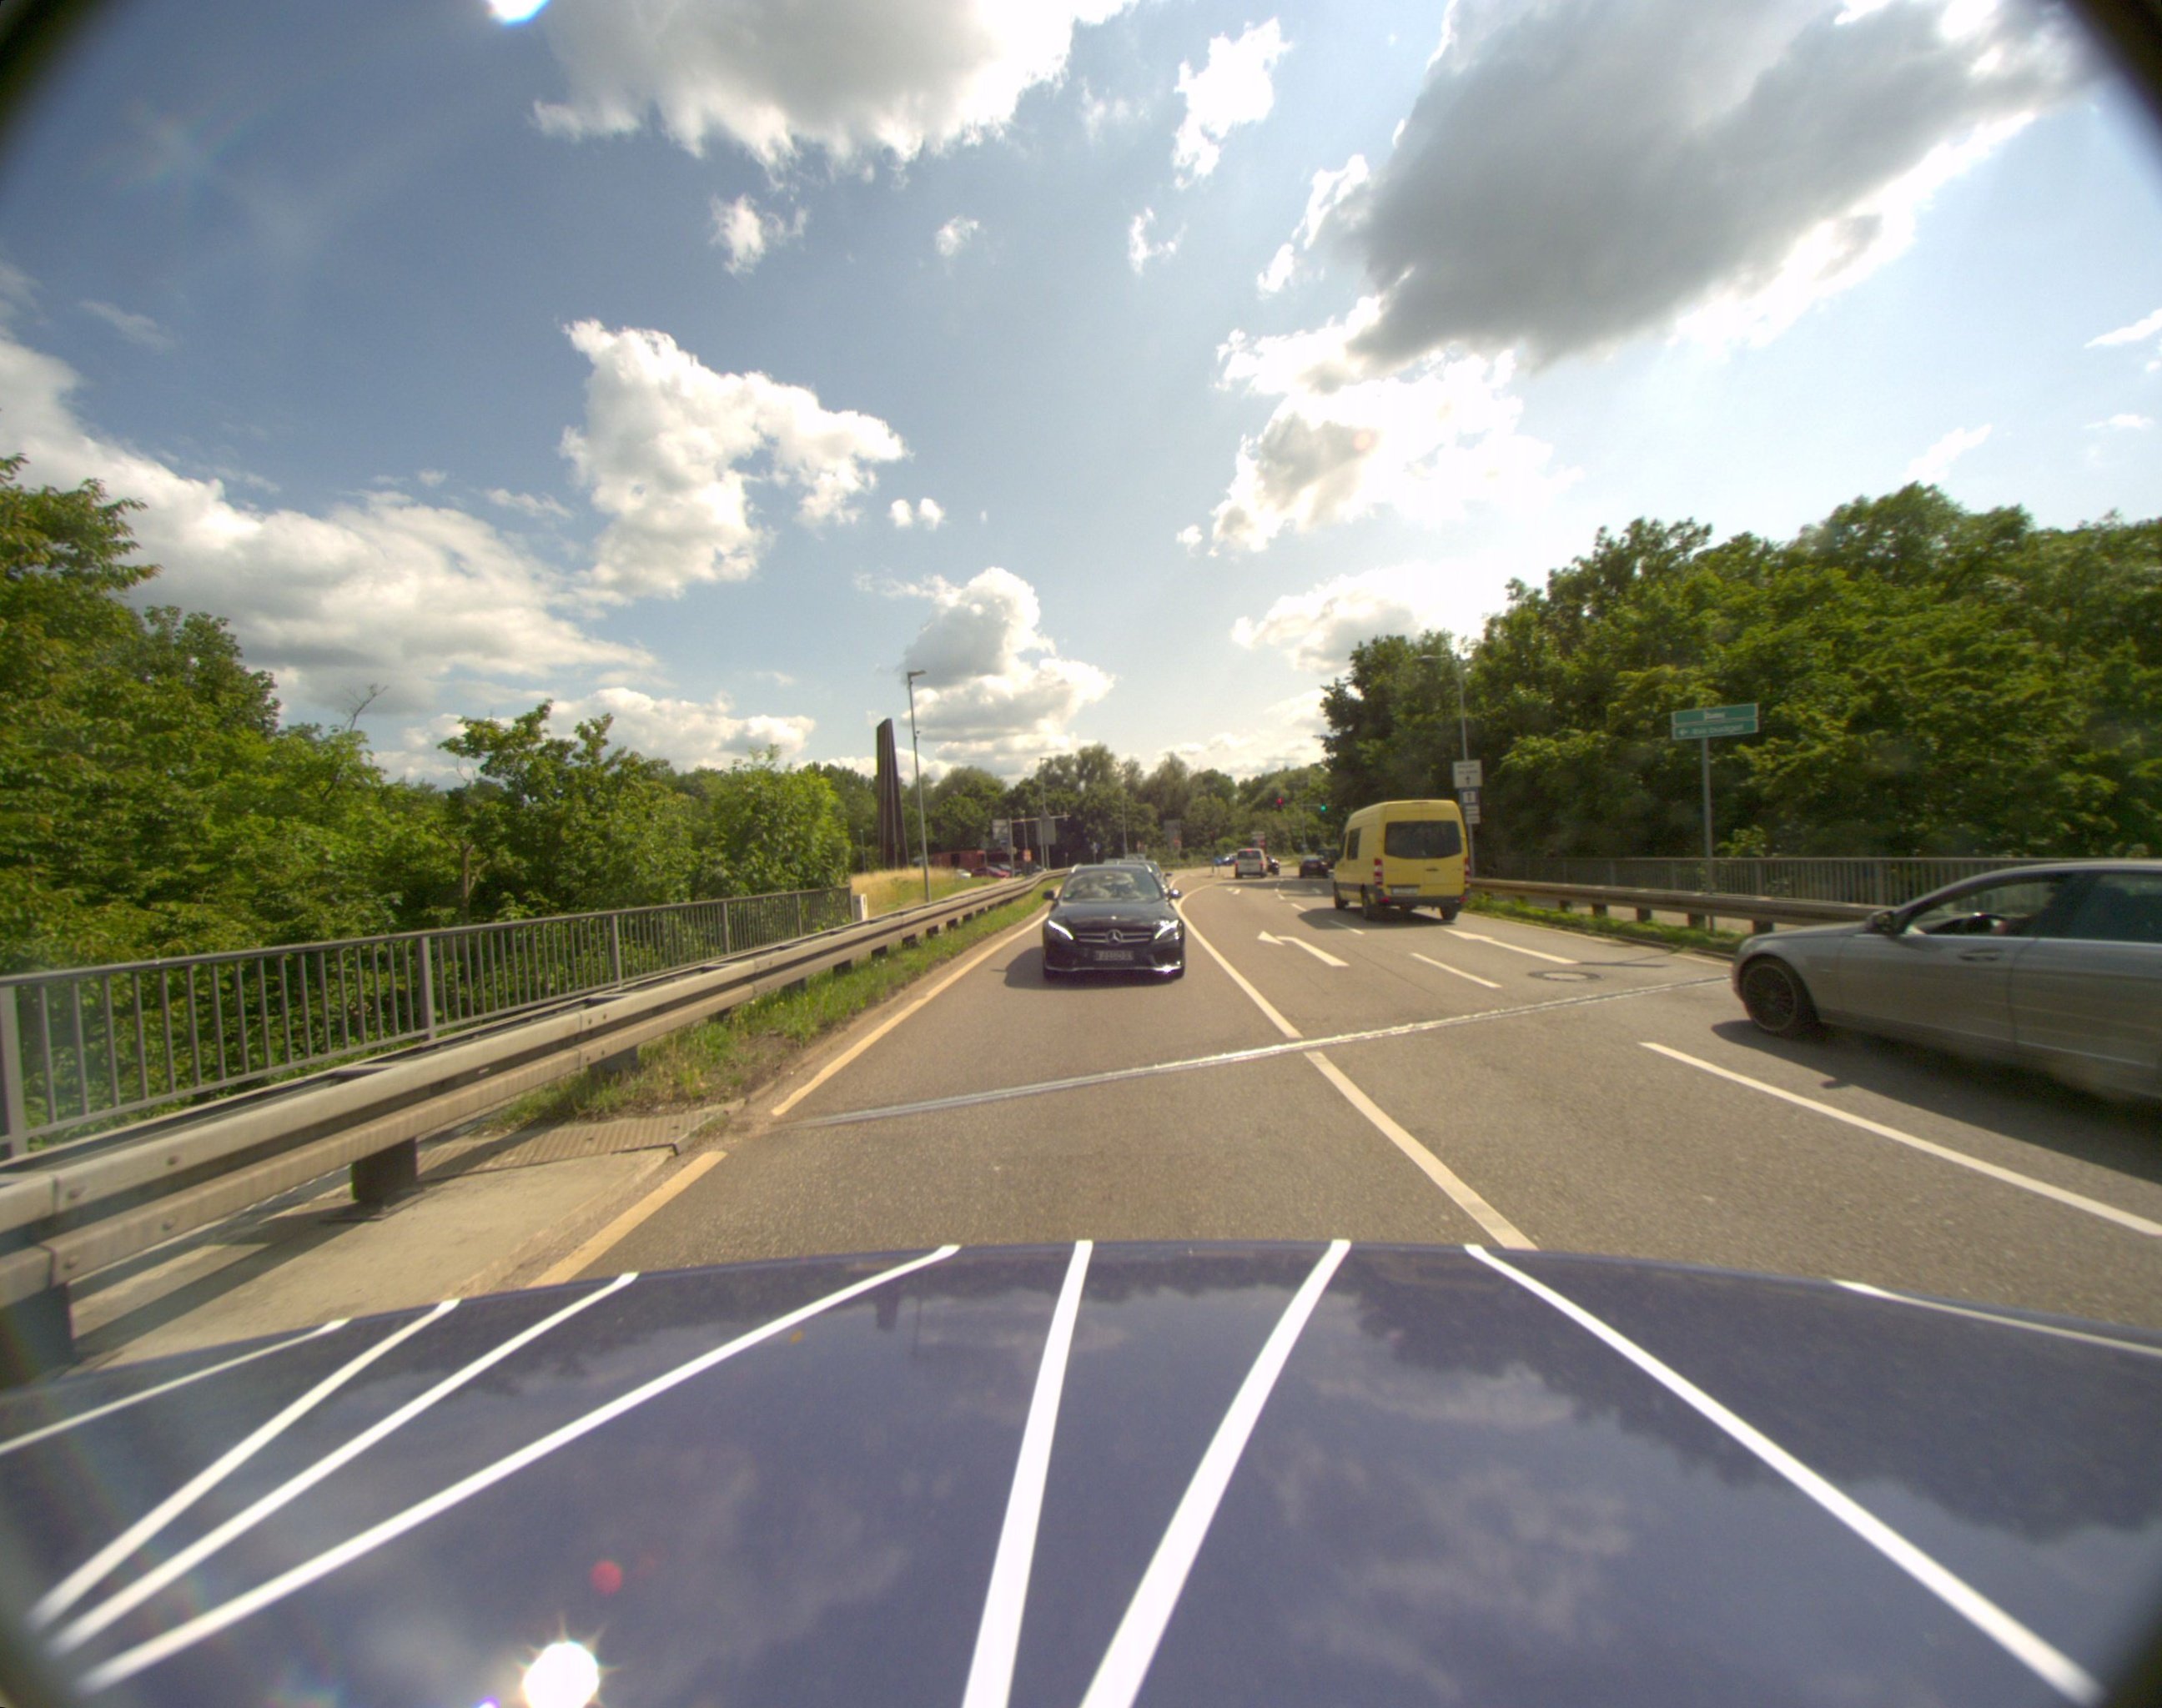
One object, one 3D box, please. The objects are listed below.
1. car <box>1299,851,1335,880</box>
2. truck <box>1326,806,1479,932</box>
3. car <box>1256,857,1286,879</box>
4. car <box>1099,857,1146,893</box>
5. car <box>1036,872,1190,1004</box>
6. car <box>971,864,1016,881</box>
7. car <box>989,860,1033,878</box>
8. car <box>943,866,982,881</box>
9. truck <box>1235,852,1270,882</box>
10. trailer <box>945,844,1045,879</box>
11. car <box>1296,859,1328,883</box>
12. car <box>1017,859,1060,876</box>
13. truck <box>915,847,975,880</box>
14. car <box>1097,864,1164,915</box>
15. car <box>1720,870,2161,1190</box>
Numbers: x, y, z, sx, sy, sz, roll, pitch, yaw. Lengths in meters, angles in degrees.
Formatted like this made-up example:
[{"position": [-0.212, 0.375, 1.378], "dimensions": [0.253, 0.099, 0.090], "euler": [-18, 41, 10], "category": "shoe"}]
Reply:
[{"position": [16.594, 0.753, 53.351], "dimensions": [1.995, 1.902, 5.140], "euler": [-1, 0, 22], "category": "car"}, {"position": [7.674, 0.328, 18.895], "dimensions": [1.997, 2.605, 6.108], "euler": [0, 0, 8], "category": "truck"}, {"position": [14.217, 1.004, 56.950], "dimensions": [1.701, 1.548, 3.824], "euler": [-2, 0, 7], "category": "car"}, {"position": [1.822, 0.871, 32.766], "dimensions": [1.858, 1.402, 4.001], "euler": [-2, 0, 4], "category": "car"}, {"position": [0.407, 1.038, 11.084], "dimensions": [1.795, 1.427, 4.369], "euler": [0, 0, 1], "category": "car"}, {"position": [-8.517, 1.796, 73.899], "dimensions": [4.205, 1.367, 1.763], "euler": [-4, -2, 37], "category": "car"}, {"position": [-7.228, 1.583, 78.179], "dimensions": [4.205, 1.635, 1.841], "euler": [-4, -2, 37], "category": "car"}, {"position": [-12.798, 2.079, 81.854], "dimensions": [4.205, 1.367, 1.649], "euler": [-4, -2, 37], "category": "car"}, {"position": [11.559, 0.826, 50.997], "dimensions": [1.963, 1.901, 5.376], "euler": [-2, 0, 16], "category": "truck"}, {"position": [-10.871, 0.982, 96.108], "dimensions": [12.298, 3.827, 2.784], "euler": [-3, 0, 16], "category": "trailer"}, {"position": [14.757, 1.040, 48.418], "dimensions": [1.800, 1.381, 4.012], "euler": [-1, 0, 19], "category": "car"}, {"position": [-4.546, 1.456, 81.153], "dimensions": [4.284, 1.607, 1.848], "euler": [-4, 0, 37], "category": "car"}, {"position": [-17.519, 1.250, 97.837], "dimensions": [6.807, 3.822, 2.782], "euler": [-3, -1, 16], "category": "truck"}, {"position": [1.668, 1.078, 24.333], "dimensions": [1.857, 1.354, 4.002], "euler": [-1, 1, 8], "category": "car"}, {"position": [6.106, 0.879, 4.155], "dimensions": [1.751, 1.440, 4.338], "euler": [-1, 0, 3], "category": "car"}]
